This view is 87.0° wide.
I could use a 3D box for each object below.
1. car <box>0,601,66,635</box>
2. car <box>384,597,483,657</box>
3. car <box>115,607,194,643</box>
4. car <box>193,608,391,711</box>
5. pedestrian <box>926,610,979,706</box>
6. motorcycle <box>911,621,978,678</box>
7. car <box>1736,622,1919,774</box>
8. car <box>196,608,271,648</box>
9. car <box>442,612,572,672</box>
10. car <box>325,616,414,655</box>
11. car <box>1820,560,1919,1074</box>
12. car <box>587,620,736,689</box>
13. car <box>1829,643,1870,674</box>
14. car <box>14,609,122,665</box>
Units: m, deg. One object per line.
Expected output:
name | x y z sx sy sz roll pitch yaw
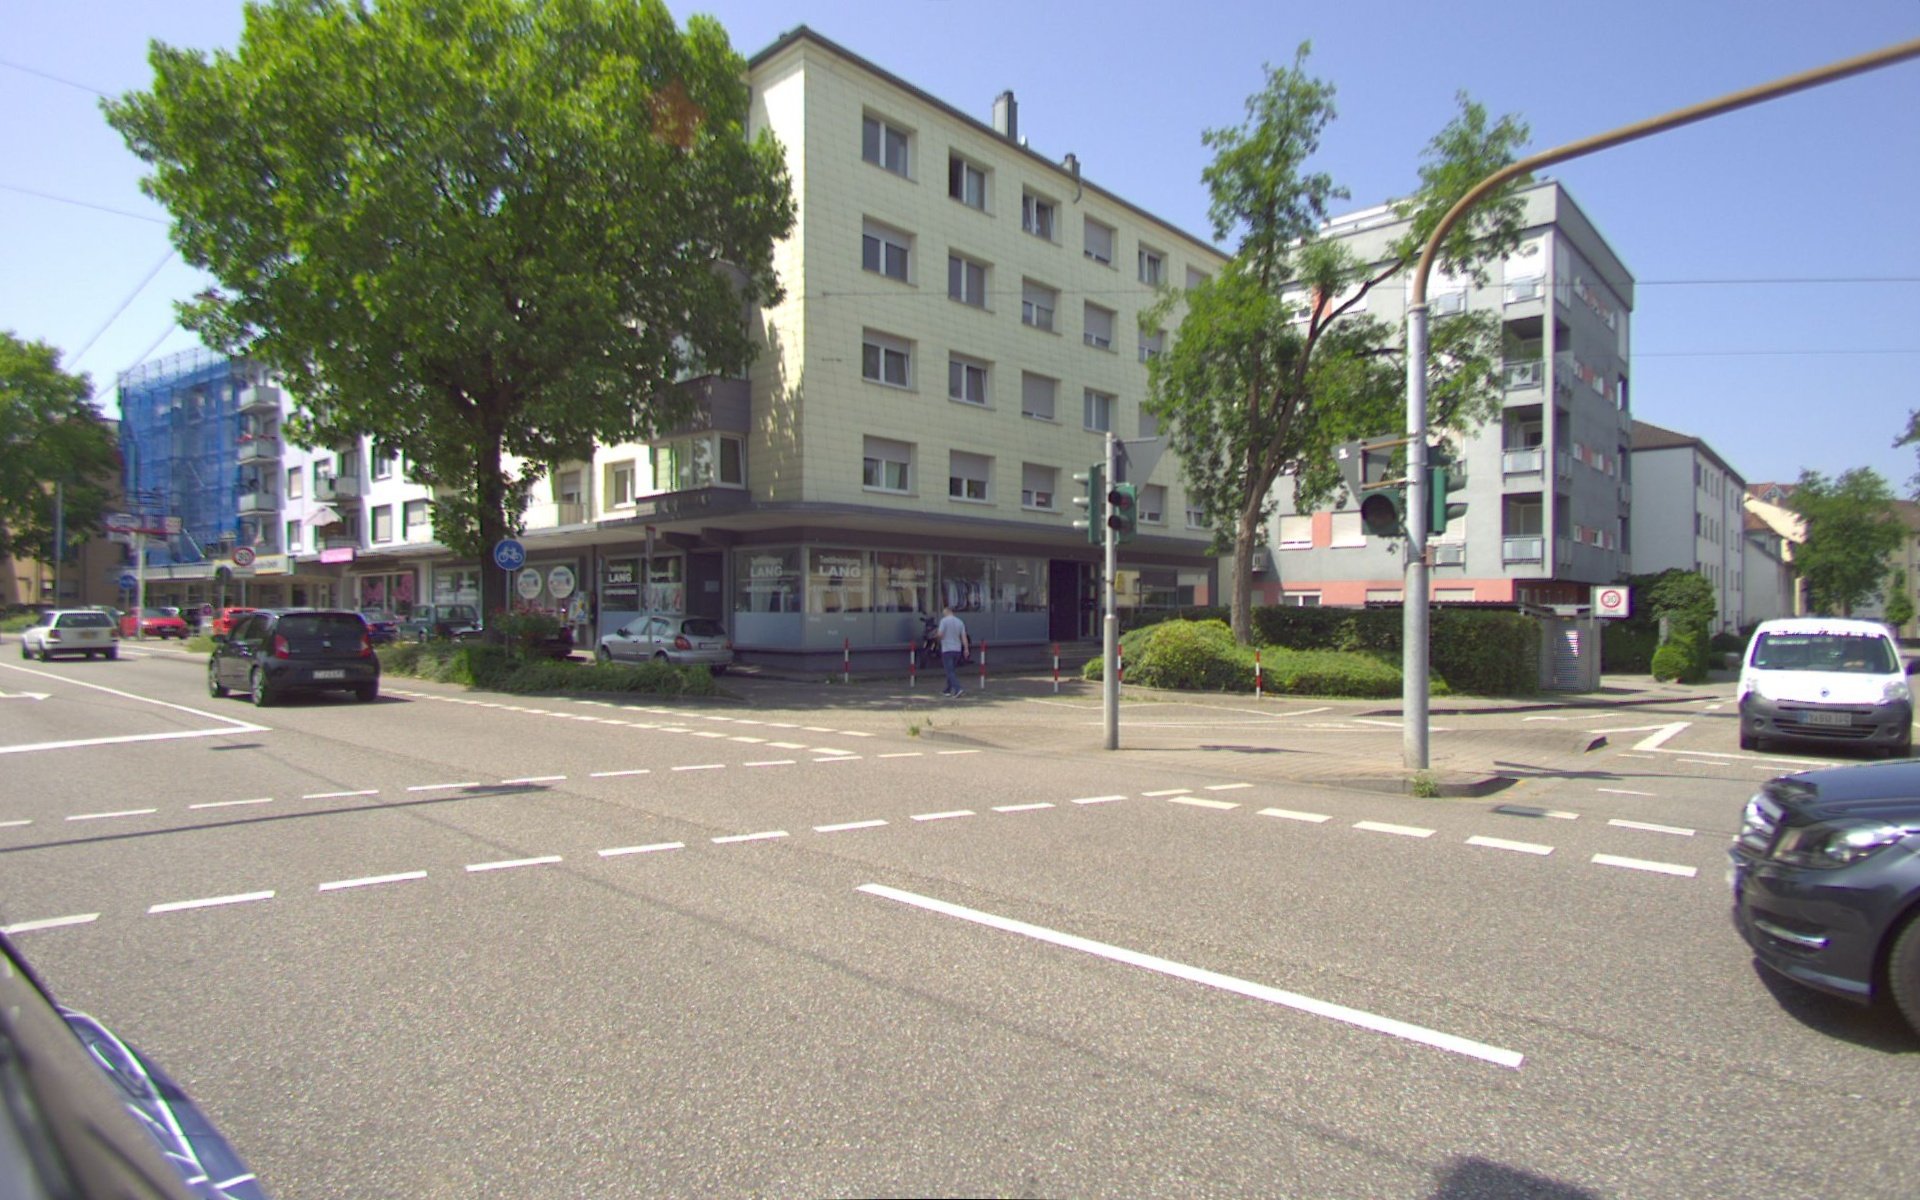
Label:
car | -52.707 1.019 57.409 4.321 1.819 1.893 -1 -1 33
car | -17.446 0.861 33.487 3.858 1.853 1.622 -1 -1 41
car | -36.687 1.127 46.043 4.328 1.531 1.889 -1 -1 38
car | -10.794 0.941 16.265 3.706 1.467 1.600 -2 -4 40
pedestrian | -0.144 1.091 19.334 0.742 1.773 0.620 2 0 41
motorcycle | -0.402 1.318 27.318 0.714 1.431 1.894 1 1 42
car | 11.744 1.243 13.663 1.892 1.748 3.648 0 -3 39
car | -28.341 1.050 39.422 3.633 1.479 1.617 0 -1 42
car | -13.213 1.158 29.381 4.837 1.581 1.605 0 -1 41
car | -21.649 1.266 37.040 3.859 1.296 1.682 0 0 41
car | 4.982 0.689 2.512 4.315 1.572 1.737 -1 -3 41
car | -7.192 1.238 24.186 3.938 1.470 1.566 0 -1 41
car | 55.450 3.613 63.074 3.203 1.684 1.550 -1 0 -42
car | -26.529 1.060 30.042 4.628 1.530 1.796 0 -1 41
